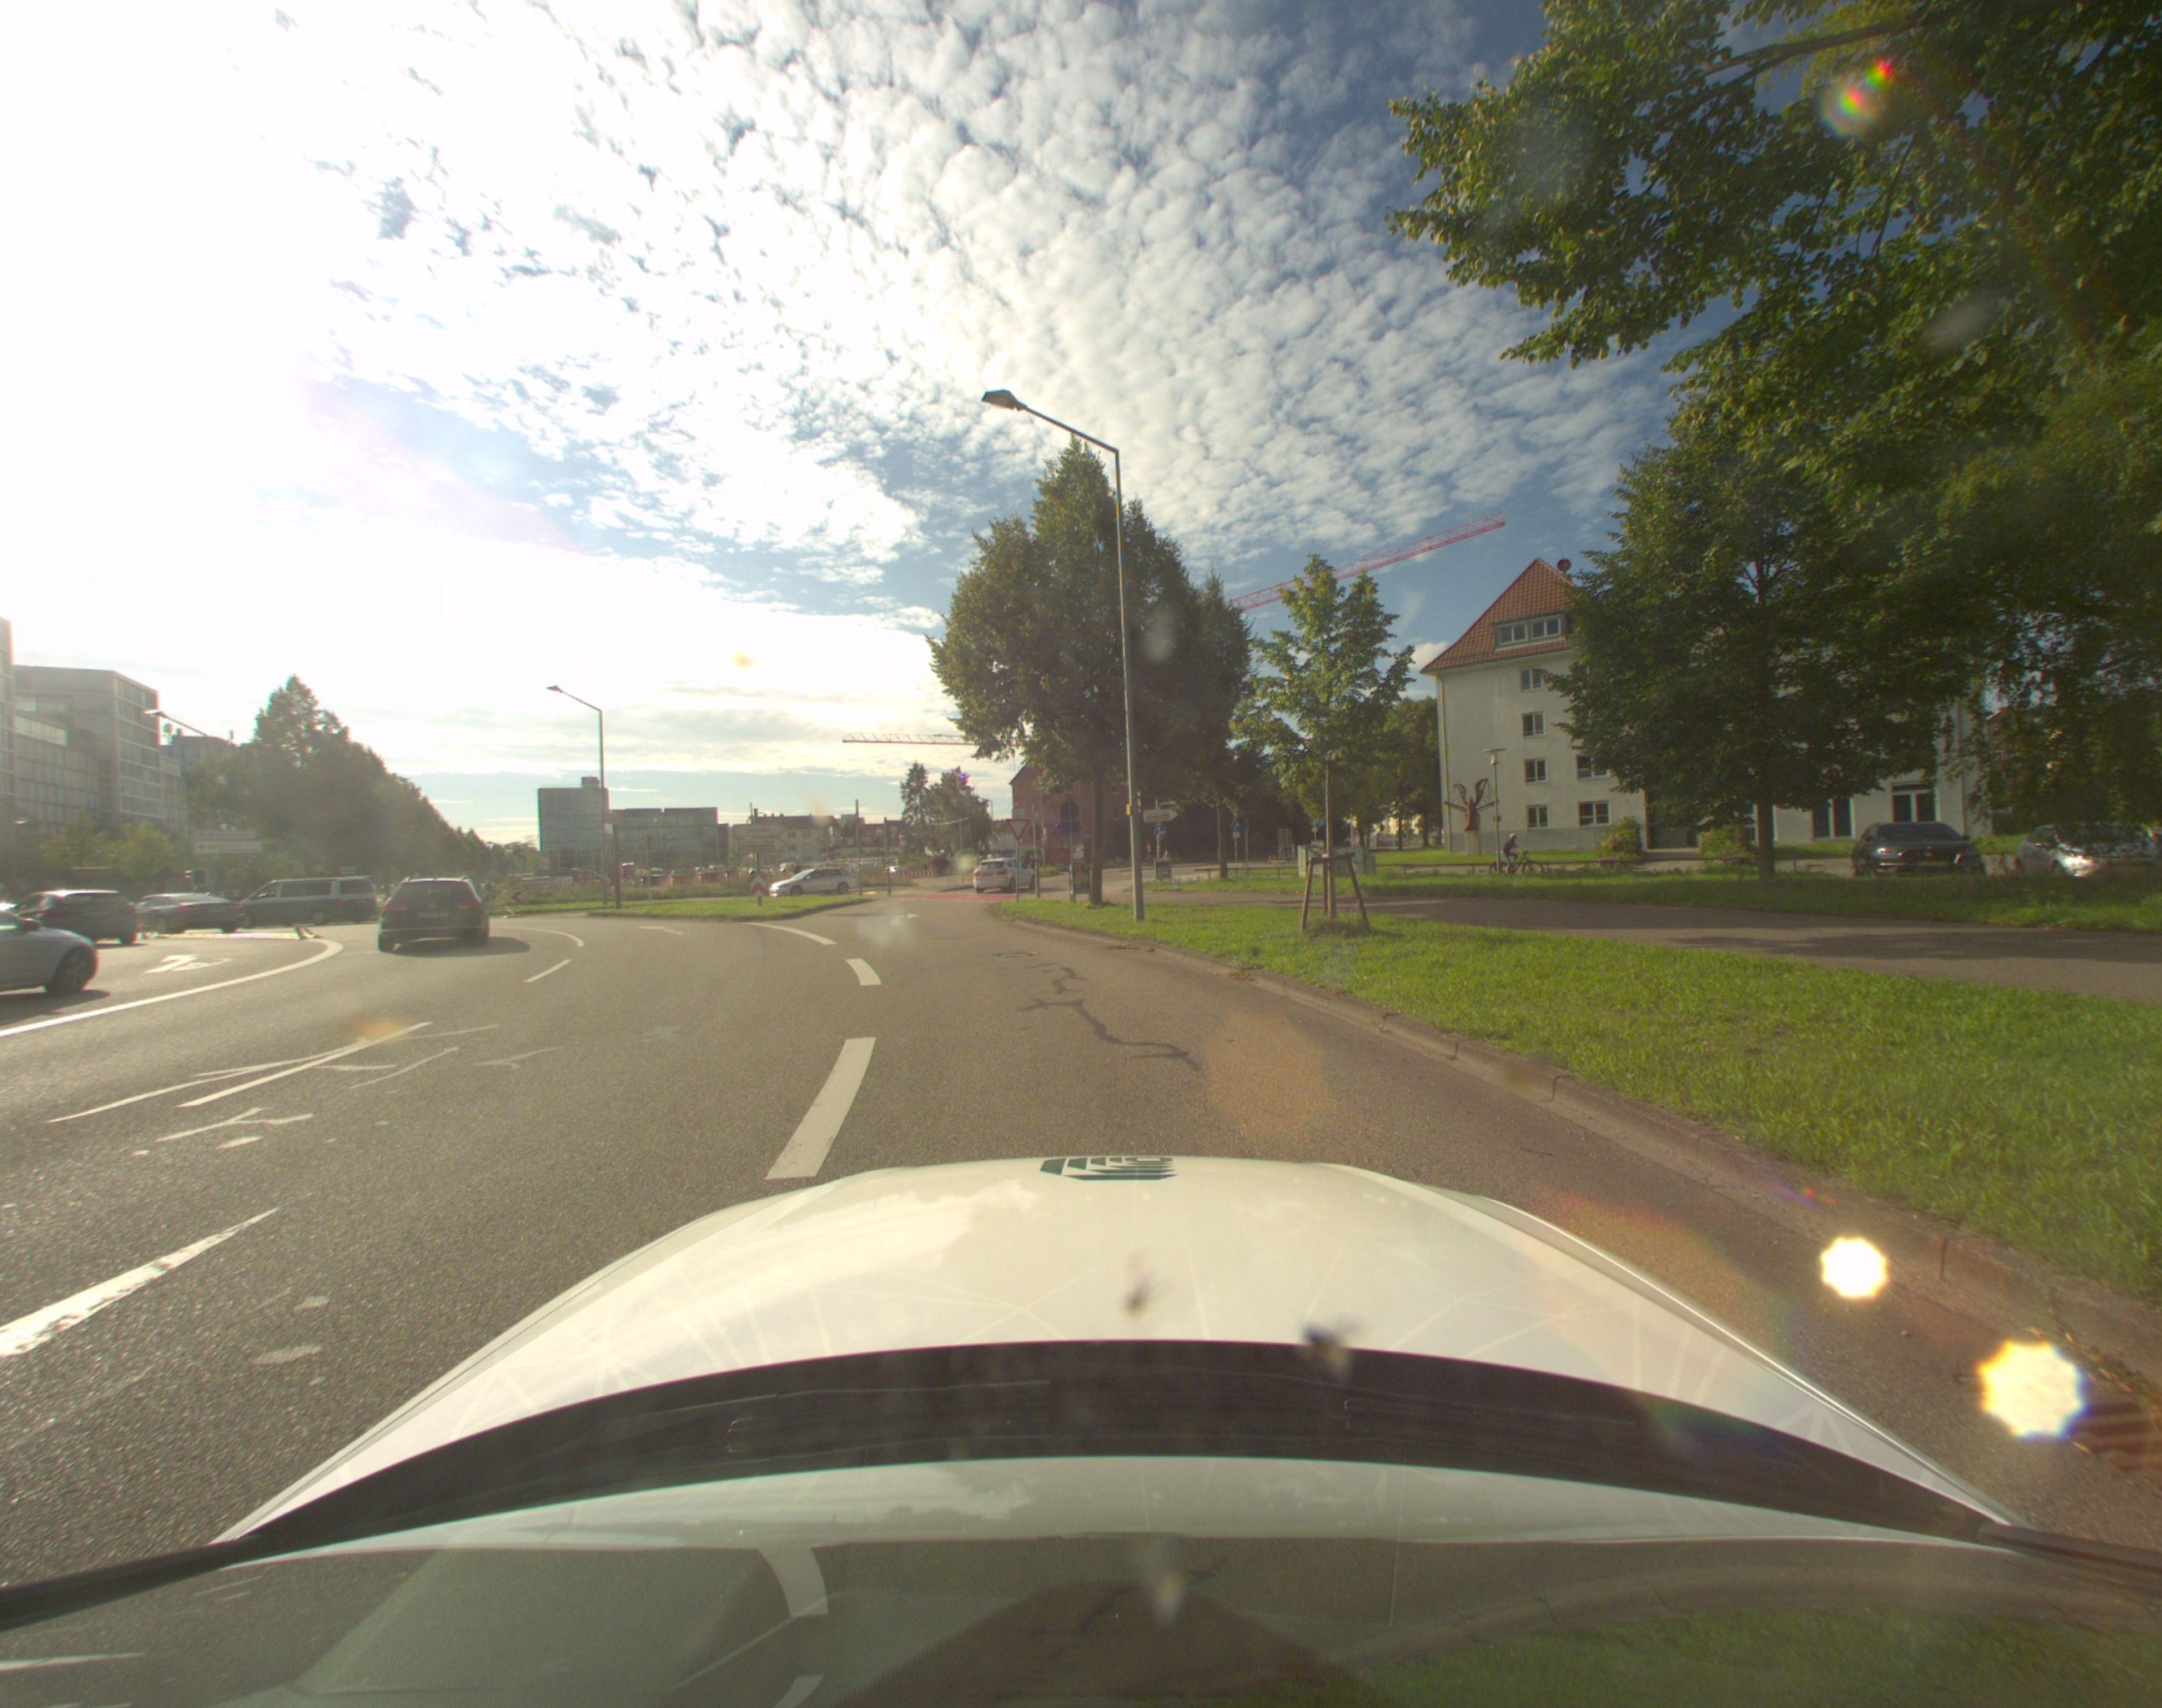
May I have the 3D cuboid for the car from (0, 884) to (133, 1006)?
[{"bbox_3d":[-14.212,1.184,9.602,1.856,1.445,4.608,-2,0,-19],"label":"car"}]

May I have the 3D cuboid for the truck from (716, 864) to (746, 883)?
[{"bbox_3d":[-45.229,2.579,105.109,2.074,2.328,5.573,-2,0,-38],"label":"truck"}]

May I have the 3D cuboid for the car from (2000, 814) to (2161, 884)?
[{"bbox_3d":[23.775,-0.159,19.279,1.837,1.440,4.764,-3,0,38],"label":"car"}]

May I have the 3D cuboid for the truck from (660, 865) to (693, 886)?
[{"bbox_3d":[-50.258,2.689,101.036,2.346,2.328,6.378,-2,0,-38],"label":"truck"}]

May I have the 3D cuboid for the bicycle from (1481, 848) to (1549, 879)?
[{"bbox_3d":[16.423,0.362,30.864,0.777,1.137,2.123,-2,0,-44],"label":"bicycle"}]

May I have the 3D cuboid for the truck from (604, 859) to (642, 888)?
[{"bbox_3d":[-54.699,2.323,97.225,2.831,3.207,7.232,-2,0,-38],"label":"truck"}]

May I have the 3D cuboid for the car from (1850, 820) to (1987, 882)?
[{"bbox_3d":[21.296,-0.108,20.909,1.837,1.381,4.544,-3,0,38],"label":"car"}]

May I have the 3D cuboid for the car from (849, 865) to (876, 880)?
[{"bbox_3d":[-27.501,2.330,102.525,1.894,1.816,3.955,-2,0,-37],"label":"car"}]

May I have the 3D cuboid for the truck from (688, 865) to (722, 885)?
[{"bbox_3d":[-47.736,2.706,103.282,2.346,2.328,6.378,-2,0,-38],"label":"truck"}]

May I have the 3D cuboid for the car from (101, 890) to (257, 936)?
[{"bbox_3d":[-31.800,2.070,28.736,4.609,1.431,1.911,-1,0,17],"label":"car"}]

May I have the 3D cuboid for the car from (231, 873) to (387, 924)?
[{"bbox_3d":[-32.391,1.822,34.270,4.633,1.903,1.901,-1,0,-2],"label":"car"}]

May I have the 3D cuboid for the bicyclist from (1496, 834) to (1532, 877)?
[{"bbox_3d":[16.405,0.054,30.868,0.777,1.575,0.948,-2,0,-44],"label":"bicyclist"}]

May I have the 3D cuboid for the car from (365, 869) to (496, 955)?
[{"bbox_3d":[-14.488,1.189,18.251,2.010,1.566,4.789,-3,0,-38],"label":"car"}]

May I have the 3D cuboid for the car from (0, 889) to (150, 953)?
[{"bbox_3d":[-28.402,1.830,22.728,4.020,1.572,1.782,-1,0,19],"label":"car"}]

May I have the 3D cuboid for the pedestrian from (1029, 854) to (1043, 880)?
[{"bbox_3d":[-3.336,0.939,60.000,0.661,1.870,0.839,-3,0,20],"label":"pedestrian"}]

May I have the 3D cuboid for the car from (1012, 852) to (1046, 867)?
[{"bbox_3d":[-6.402,0.659,100.731,3.970,1.618,1.775,-3,0,3],"label":"car"}]

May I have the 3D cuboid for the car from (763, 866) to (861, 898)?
[{"bbox_3d":[-14.223,1.450,43.179,1.801,1.452,4.569,-3,0,45],"label":"car"}]

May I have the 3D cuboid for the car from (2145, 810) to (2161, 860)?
[{"bbox_3d":[25.853,-0.442,17.915,1.837,1.207,4.764,-3,0,38],"label":"car"}]

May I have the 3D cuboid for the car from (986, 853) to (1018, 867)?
[{"bbox_3d":[-10.306,0.762,106.260,3.984,1.618,1.769,-3,0,-8],"label":"car"}]

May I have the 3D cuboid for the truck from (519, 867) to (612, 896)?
[{"bbox_3d":[-52.781,2.782,83.472,7.894,2.567,3.041,-2,0,-35],"label":"truck"}]

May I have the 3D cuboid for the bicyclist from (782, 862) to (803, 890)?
[{"bbox_3d":[-16.430,1.249,46.385,1.011,1.511,0.700,-3,0,-22],"label":"bicyclist"}]

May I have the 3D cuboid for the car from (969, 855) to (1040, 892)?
[{"bbox_3d":[-3.535,0.880,38.542,1.836,1.572,4.474,-1,0,16],"label":"car"}]
